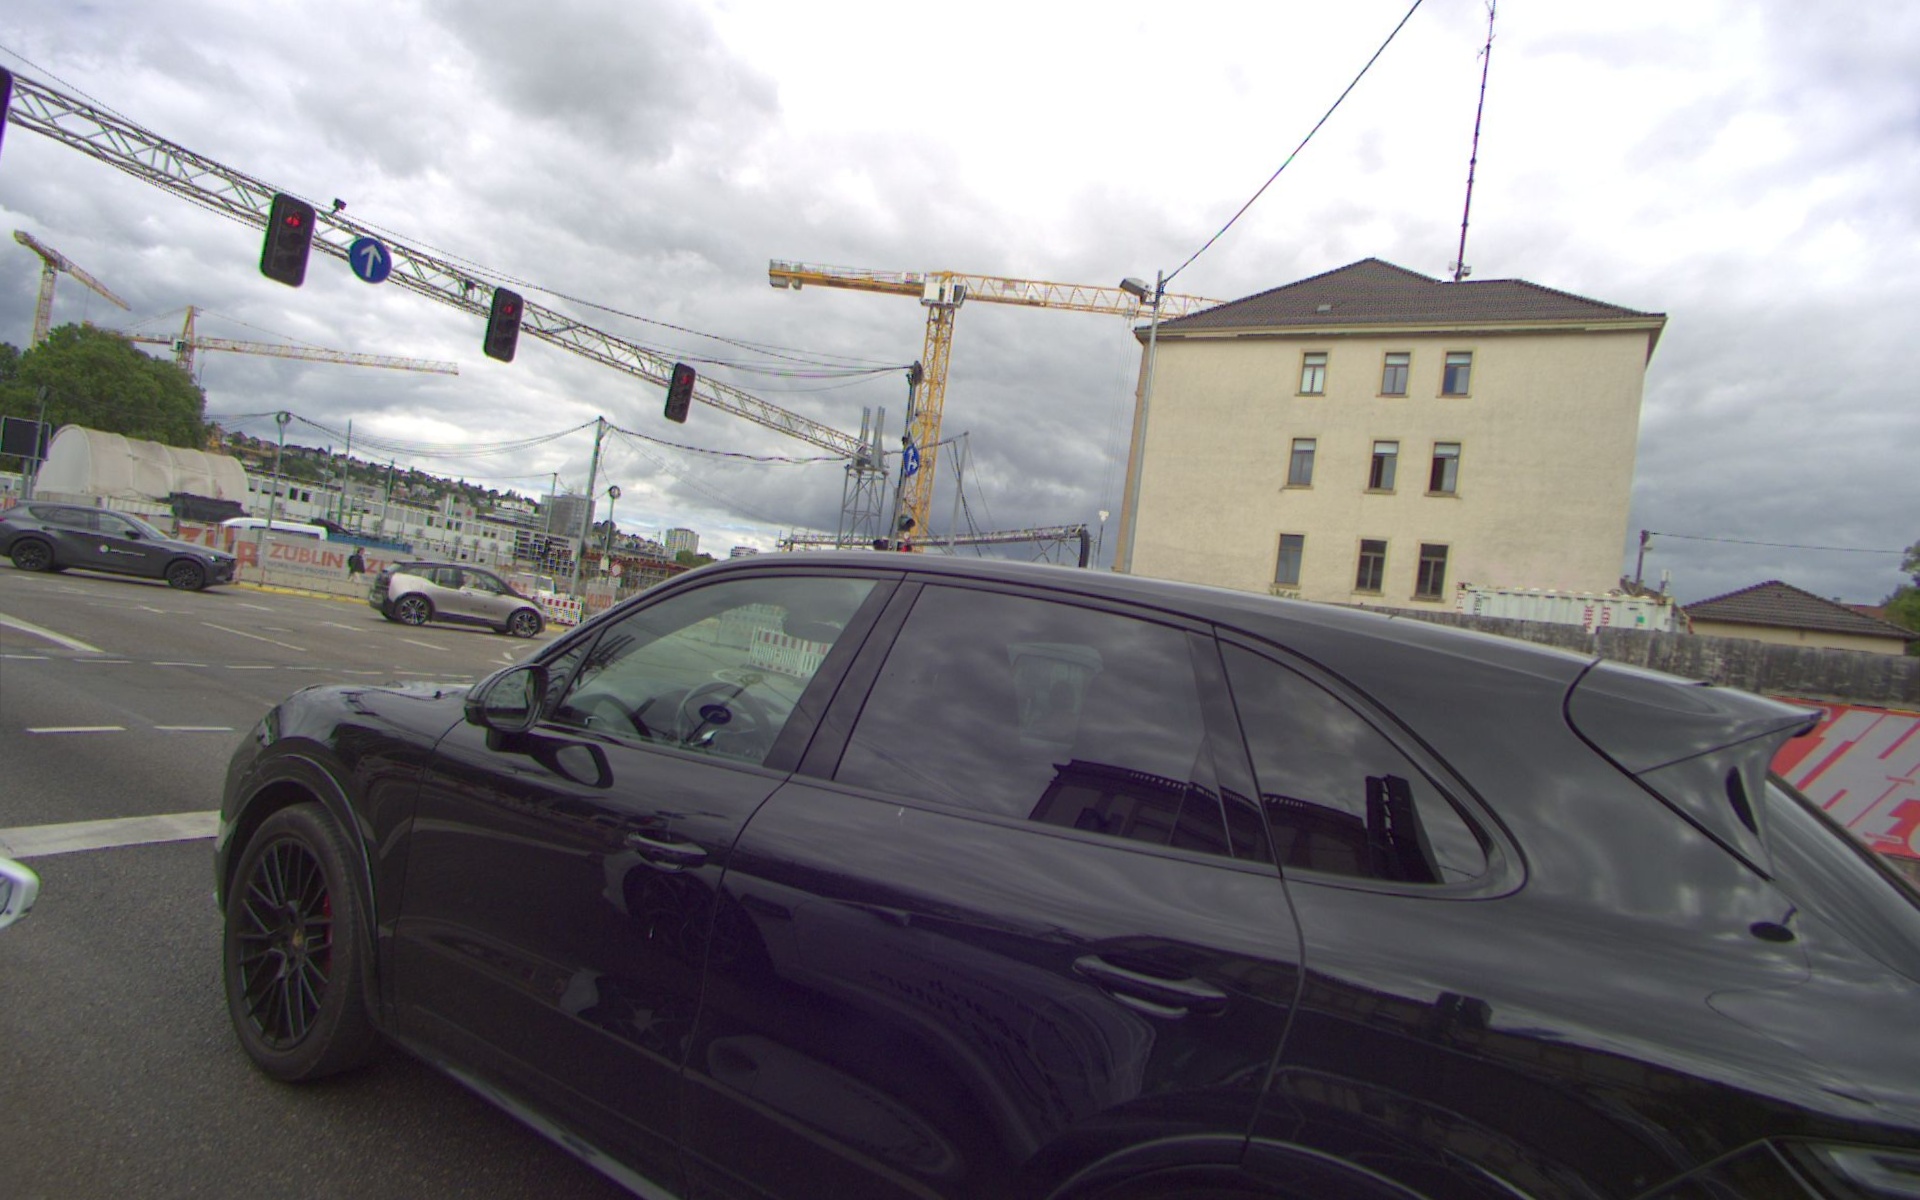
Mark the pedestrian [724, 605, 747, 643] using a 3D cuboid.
[{"bbox_3d":[-11.308,1.229,50.666,0.607,1.816,0.654,7,-1,23],"label":"pedestrian"}]

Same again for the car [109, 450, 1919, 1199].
[{"bbox_3d":[-0.164,0.710,2.784,4.559,1.705,1.959,7,-2,33],"label":"car"}]

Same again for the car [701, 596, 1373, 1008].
[{"bbox_3d":[0.388,1.038,6.460,3.818,1.561,1.667,7,-2,33],"label":"car"}]

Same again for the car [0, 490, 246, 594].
[{"bbox_3d":[-20.419,-1.359,24.508,4.562,1.689,1.870,10,-2,-29],"label":"car"}]

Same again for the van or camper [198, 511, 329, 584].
[{"bbox_3d":[-30.035,-2.253,43.465,4.204,2.384,1.975,10,-2,-44],"label":"van or camper"}]

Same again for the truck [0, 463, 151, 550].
[{"bbox_3d":[-58.126,-6.111,61.950,3.875,4.086,13.089,8,-2,12],"label":"truck"}]

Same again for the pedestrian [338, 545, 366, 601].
[{"bbox_3d":[-23.266,-1.037,38.506,0.647,2.037,0.513,8,-1,-33],"label":"pedestrian"}]

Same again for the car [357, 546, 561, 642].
[{"bbox_3d":[-12.298,-0.114,24.834,4.042,1.687,1.779,11,-3,-42],"label":"car"}]
